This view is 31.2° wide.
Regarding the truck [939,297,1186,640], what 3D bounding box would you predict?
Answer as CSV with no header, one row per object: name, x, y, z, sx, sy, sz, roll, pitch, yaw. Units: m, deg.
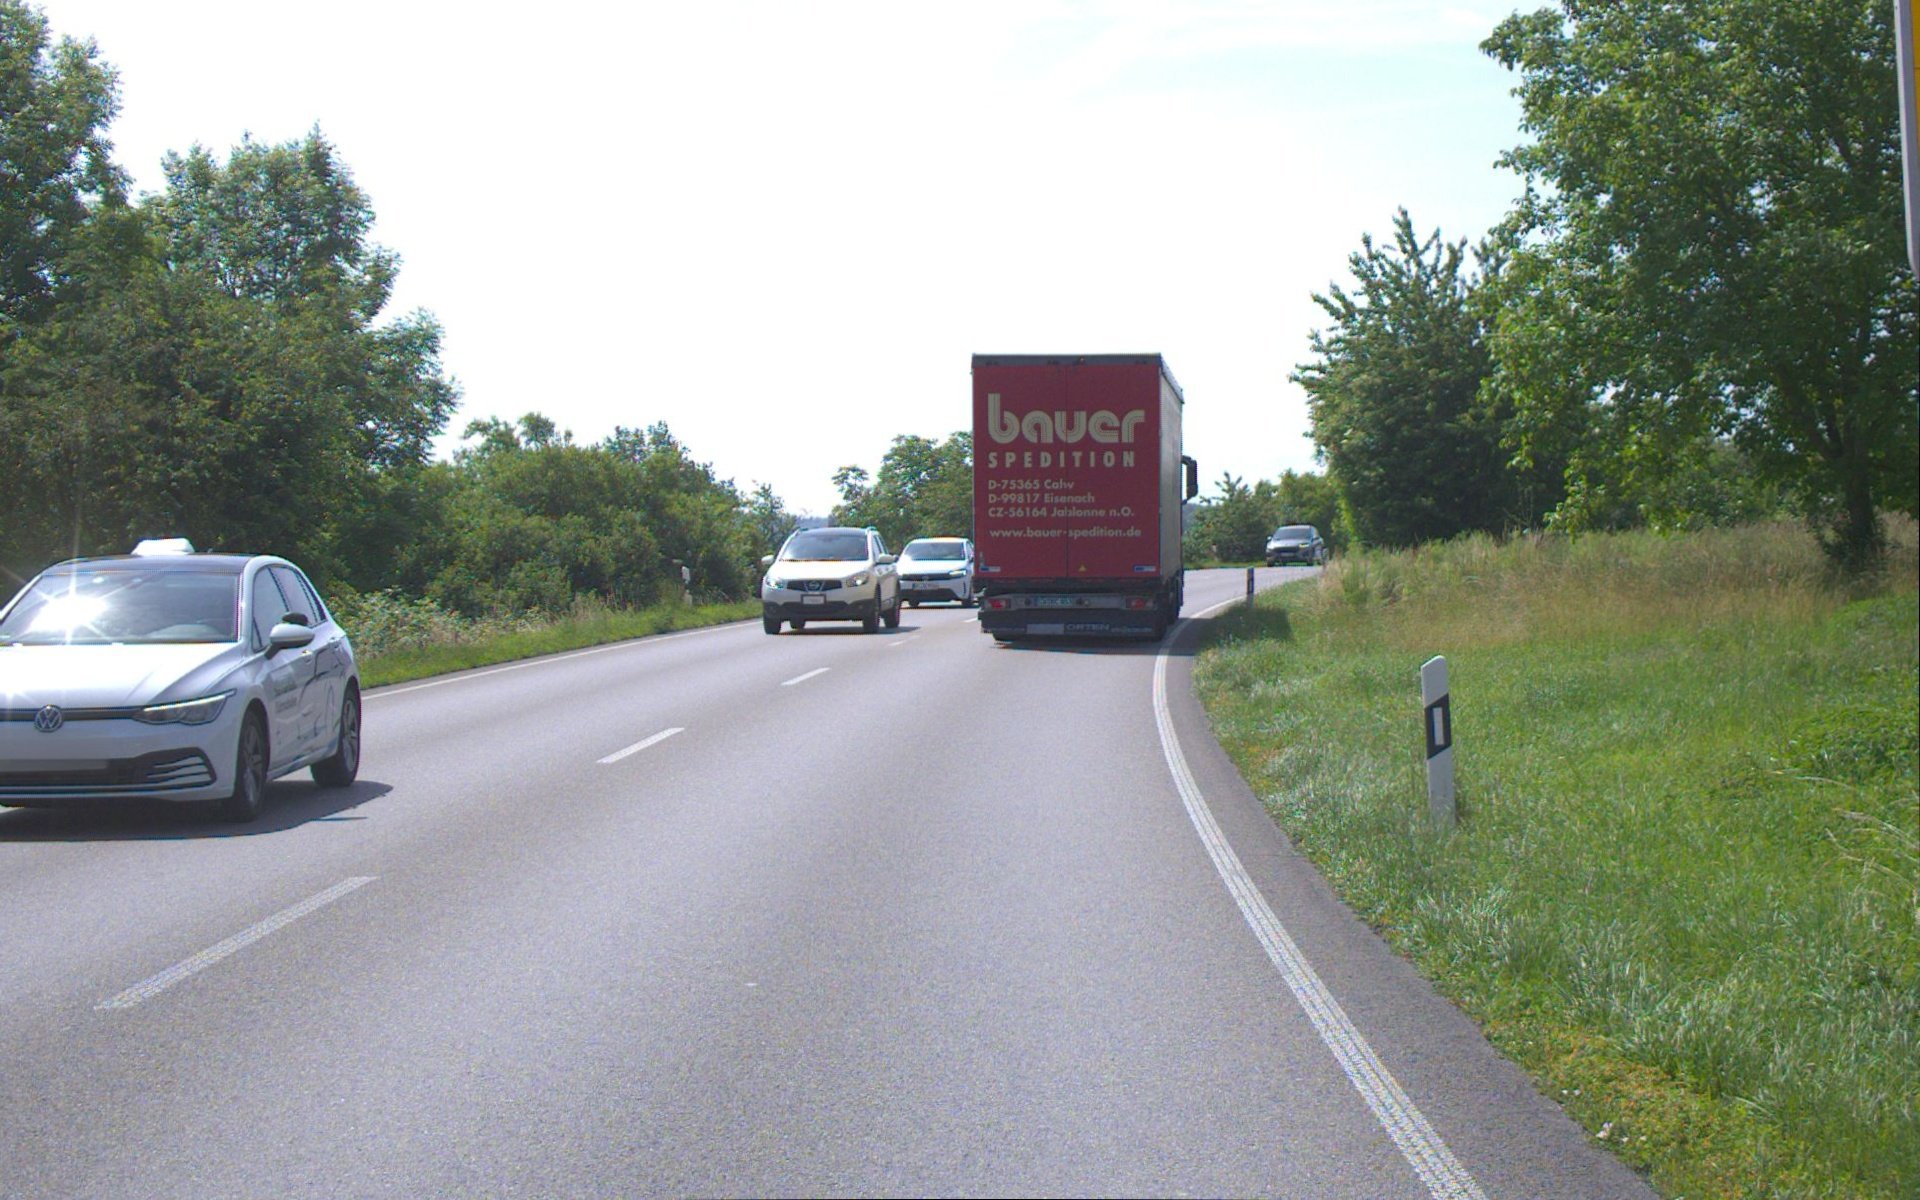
truck,1.757,-1.791,51.542,3.113,4.490,12.166,1,0,4

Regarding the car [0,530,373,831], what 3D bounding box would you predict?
car,-4.641,0.376,19.655,1.790,1.517,4.160,-1,1,1

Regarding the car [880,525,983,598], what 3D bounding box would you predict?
car,-0.558,-0.813,71.158,1.751,1.409,3.772,-1,1,5

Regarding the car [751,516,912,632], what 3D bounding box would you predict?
car,-1.979,-0.444,54.408,1.833,1.611,4.362,-5,1,6

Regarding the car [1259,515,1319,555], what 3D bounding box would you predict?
car,13.332,-2.644,139.274,1.994,1.518,3.998,-1,2,11
